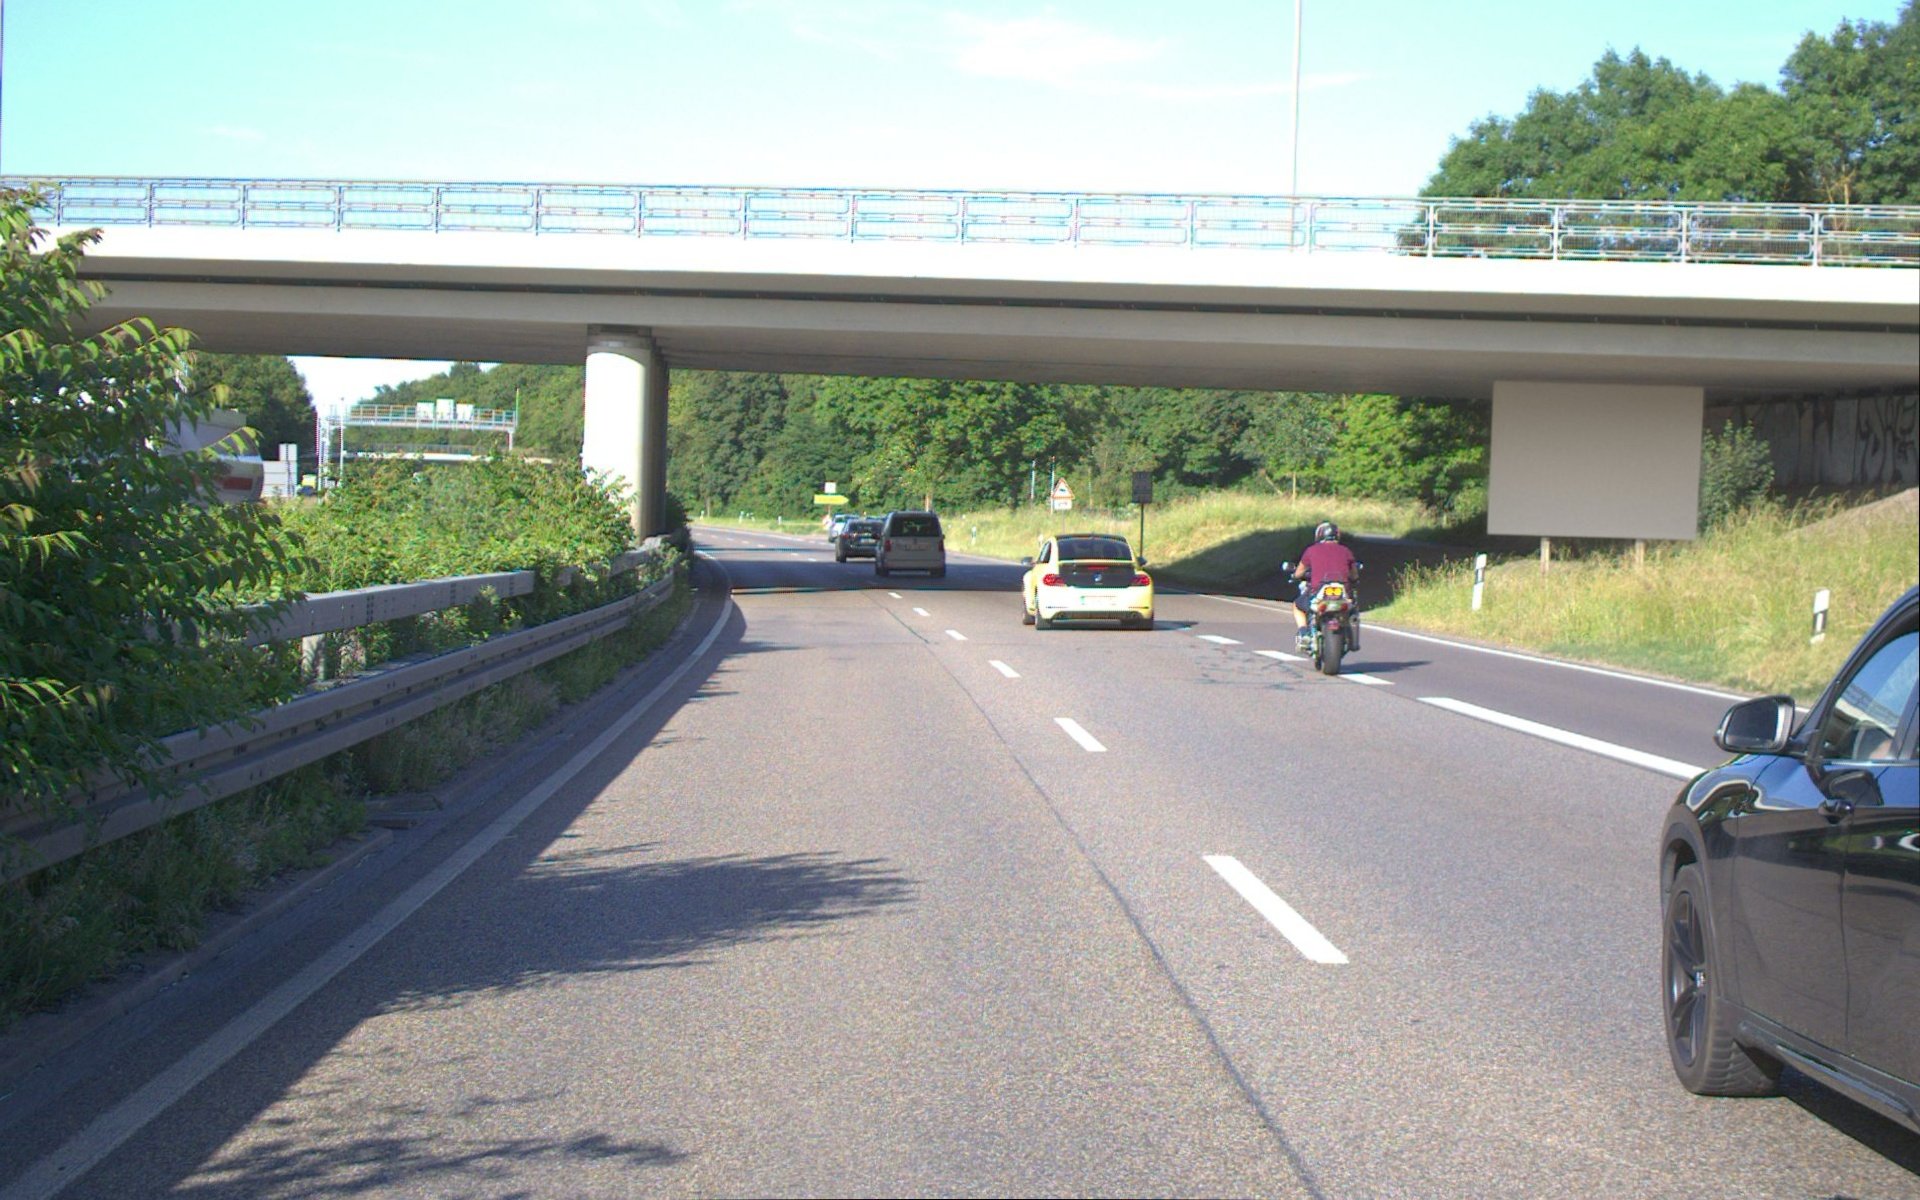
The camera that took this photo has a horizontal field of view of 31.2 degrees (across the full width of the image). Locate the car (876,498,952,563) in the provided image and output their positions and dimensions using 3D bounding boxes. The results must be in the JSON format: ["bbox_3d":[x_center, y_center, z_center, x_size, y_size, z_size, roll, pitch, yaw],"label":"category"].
[{"bbox_3d":[-1.286,-1.919,94.759,1.897,1.761,4.001,0,1,-4],"label":"car"}]

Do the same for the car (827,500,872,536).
[{"bbox_3d":[-5.594,-4.122,173.208,1.868,1.679,4.001,2,1,-7],"label":"car"}]

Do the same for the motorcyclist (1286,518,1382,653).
[{"bbox_3d":[4.085,-0.166,37.627,0.816,1.442,1.094,1,1,-5],"label":"motorcyclist"}]

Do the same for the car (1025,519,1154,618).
[{"bbox_3d":[1.974,-0.518,53.450,1.897,1.466,4.000,1,1,1],"label":"car"}]

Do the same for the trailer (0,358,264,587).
[{"bbox_3d":[-14.873,-2.243,62.082,2.776,3.644,12.207,2,1,-4],"label":"trailer"}]

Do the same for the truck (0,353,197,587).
[{"bbox_3d":[-14.582,-2.144,57.285,2.776,3.644,5.325,2,1,-4],"label":"truck"}]

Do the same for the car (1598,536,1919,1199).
[{"bbox_3d":[2.827,0.619,7.942,1.698,1.501,4.580,0,1,-2],"label":"car"}]

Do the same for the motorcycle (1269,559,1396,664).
[{"bbox_3d":[4.068,0.105,37.806,0.816,1.066,2.836,1,1,-5],"label":"motorcycle"}]

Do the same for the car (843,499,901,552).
[{"bbox_3d":[-3.016,-2.540,117.107,1.897,1.761,4.001,0,2,-2],"label":"car"}]
